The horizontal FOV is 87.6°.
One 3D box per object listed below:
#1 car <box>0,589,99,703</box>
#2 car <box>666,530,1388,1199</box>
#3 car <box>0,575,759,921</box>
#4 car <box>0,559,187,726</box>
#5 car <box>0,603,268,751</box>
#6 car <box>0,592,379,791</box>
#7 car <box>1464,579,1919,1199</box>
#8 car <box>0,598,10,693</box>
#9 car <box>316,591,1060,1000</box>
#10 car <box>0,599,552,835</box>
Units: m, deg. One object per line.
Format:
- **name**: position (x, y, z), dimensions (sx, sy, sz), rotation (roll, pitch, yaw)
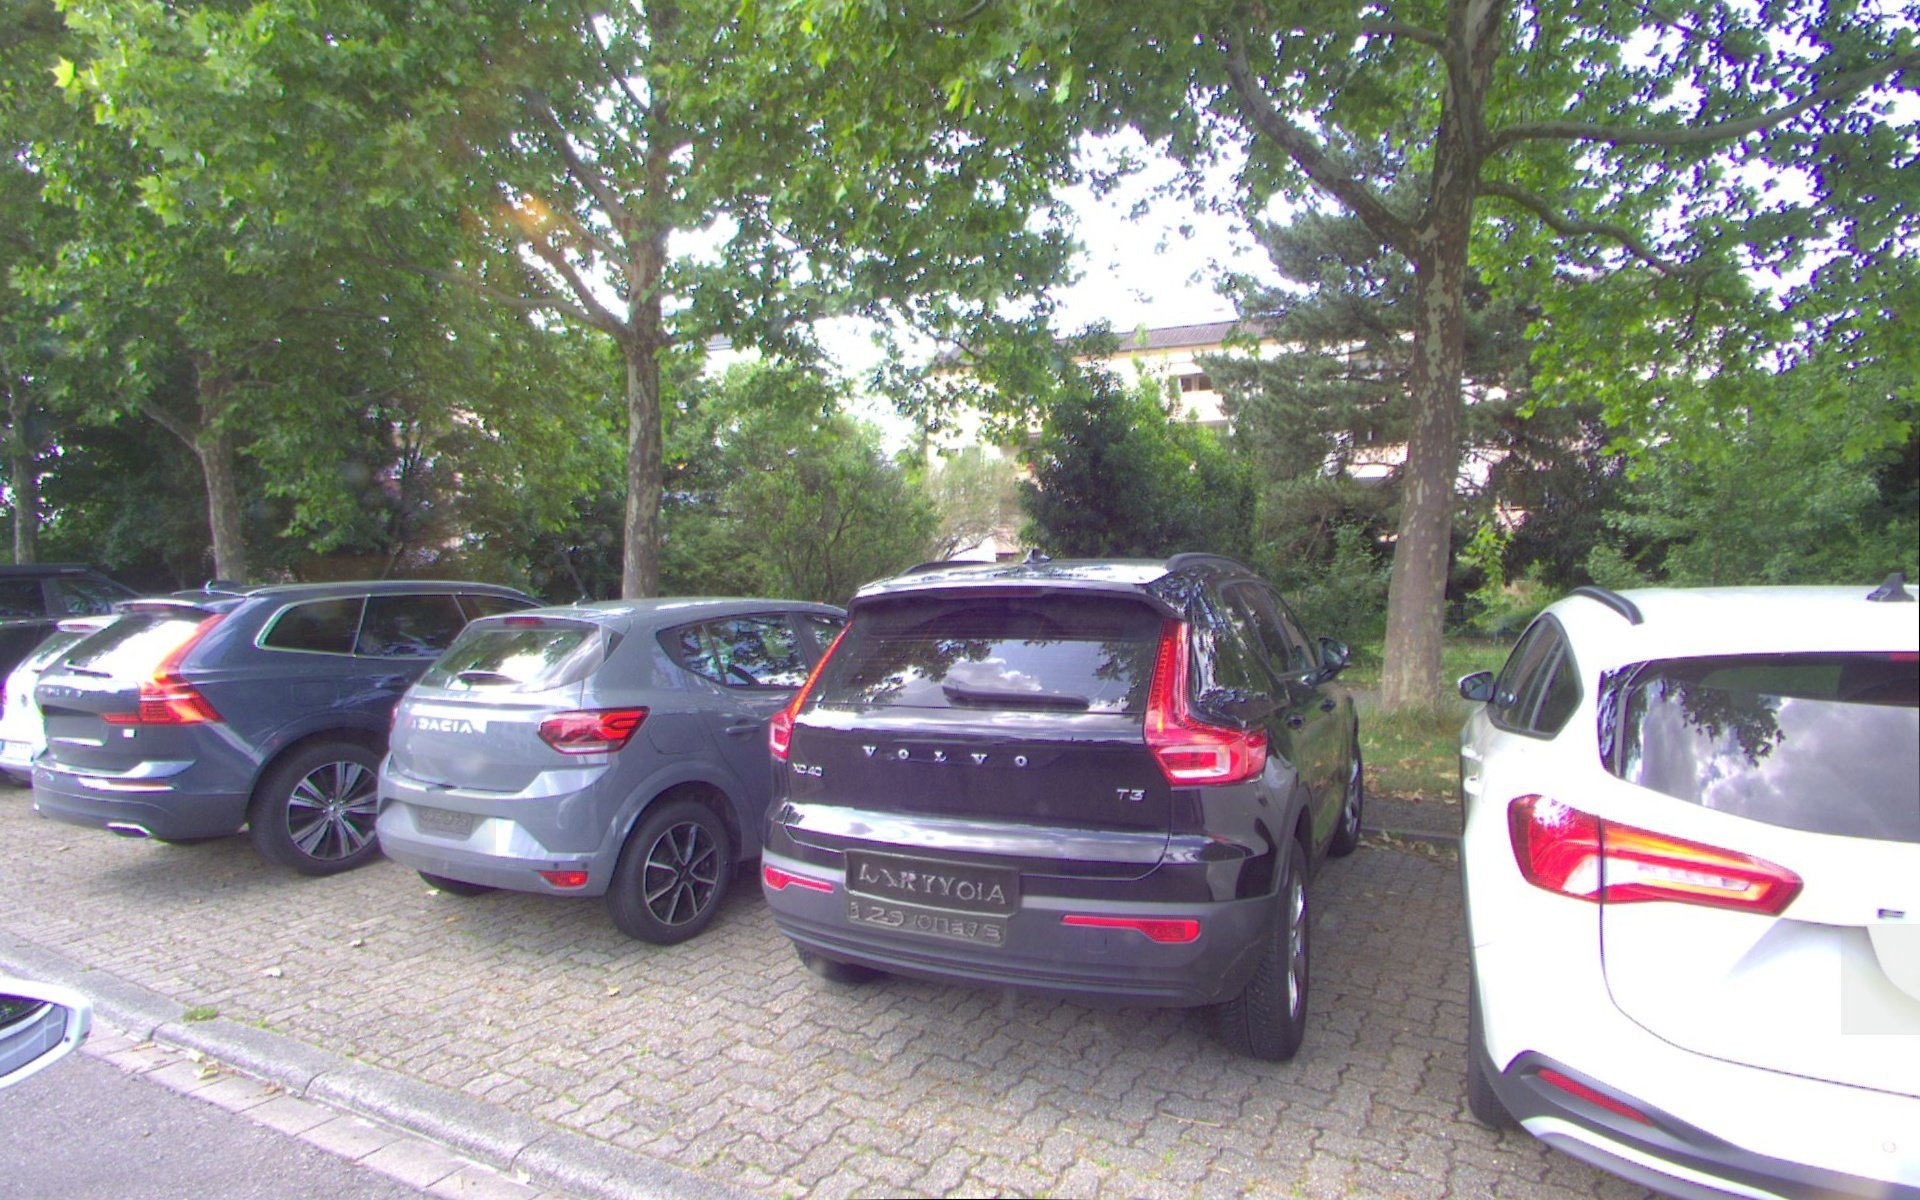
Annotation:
- **car**: position (-16.428, 0.756, 15.336), dimensions (1.828, 1.790, 4.538), rotation (0, 1, 30)
- **car**: position (0.927, 0.627, 4.848), dimensions (1.818, 1.648, 4.655), rotation (0, 1, 27)
- **car**: position (-3.601, 0.684, 7.115), dimensions (1.731, 1.661, 4.371), rotation (0, 1, 32)
- **car**: position (-13.254, 0.557, 13.145), dimensions (1.828, 2.152, 4.538), rotation (0, 1, 30)
- **car**: position (-10.620, 0.845, 11.552), dimensions (1.730, 1.514, 3.959), rotation (-1, 1, 30)
- **car**: position (-8.243, 0.753, 10.044), dimensions (1.725, 1.627, 3.969), rotation (0, 1, 20)
- **car**: position (2.843, 0.676, 3.605), dimensions (1.818, 1.493, 4.655), rotation (0, 1, 27)
- **car**: position (-18.795, 0.847, 16.236), dimensions (1.826, 1.683, 4.543), rotation (0, 1, 26)
- **car**: position (-1.139, 0.729, 6.114), dimensions (1.731, 1.521, 4.371), rotation (0, 1, 32)
- **car**: position (-5.856, 0.783, 8.807), dimensions (1.730, 1.514, 3.959), rotation (0, 1, 30)
